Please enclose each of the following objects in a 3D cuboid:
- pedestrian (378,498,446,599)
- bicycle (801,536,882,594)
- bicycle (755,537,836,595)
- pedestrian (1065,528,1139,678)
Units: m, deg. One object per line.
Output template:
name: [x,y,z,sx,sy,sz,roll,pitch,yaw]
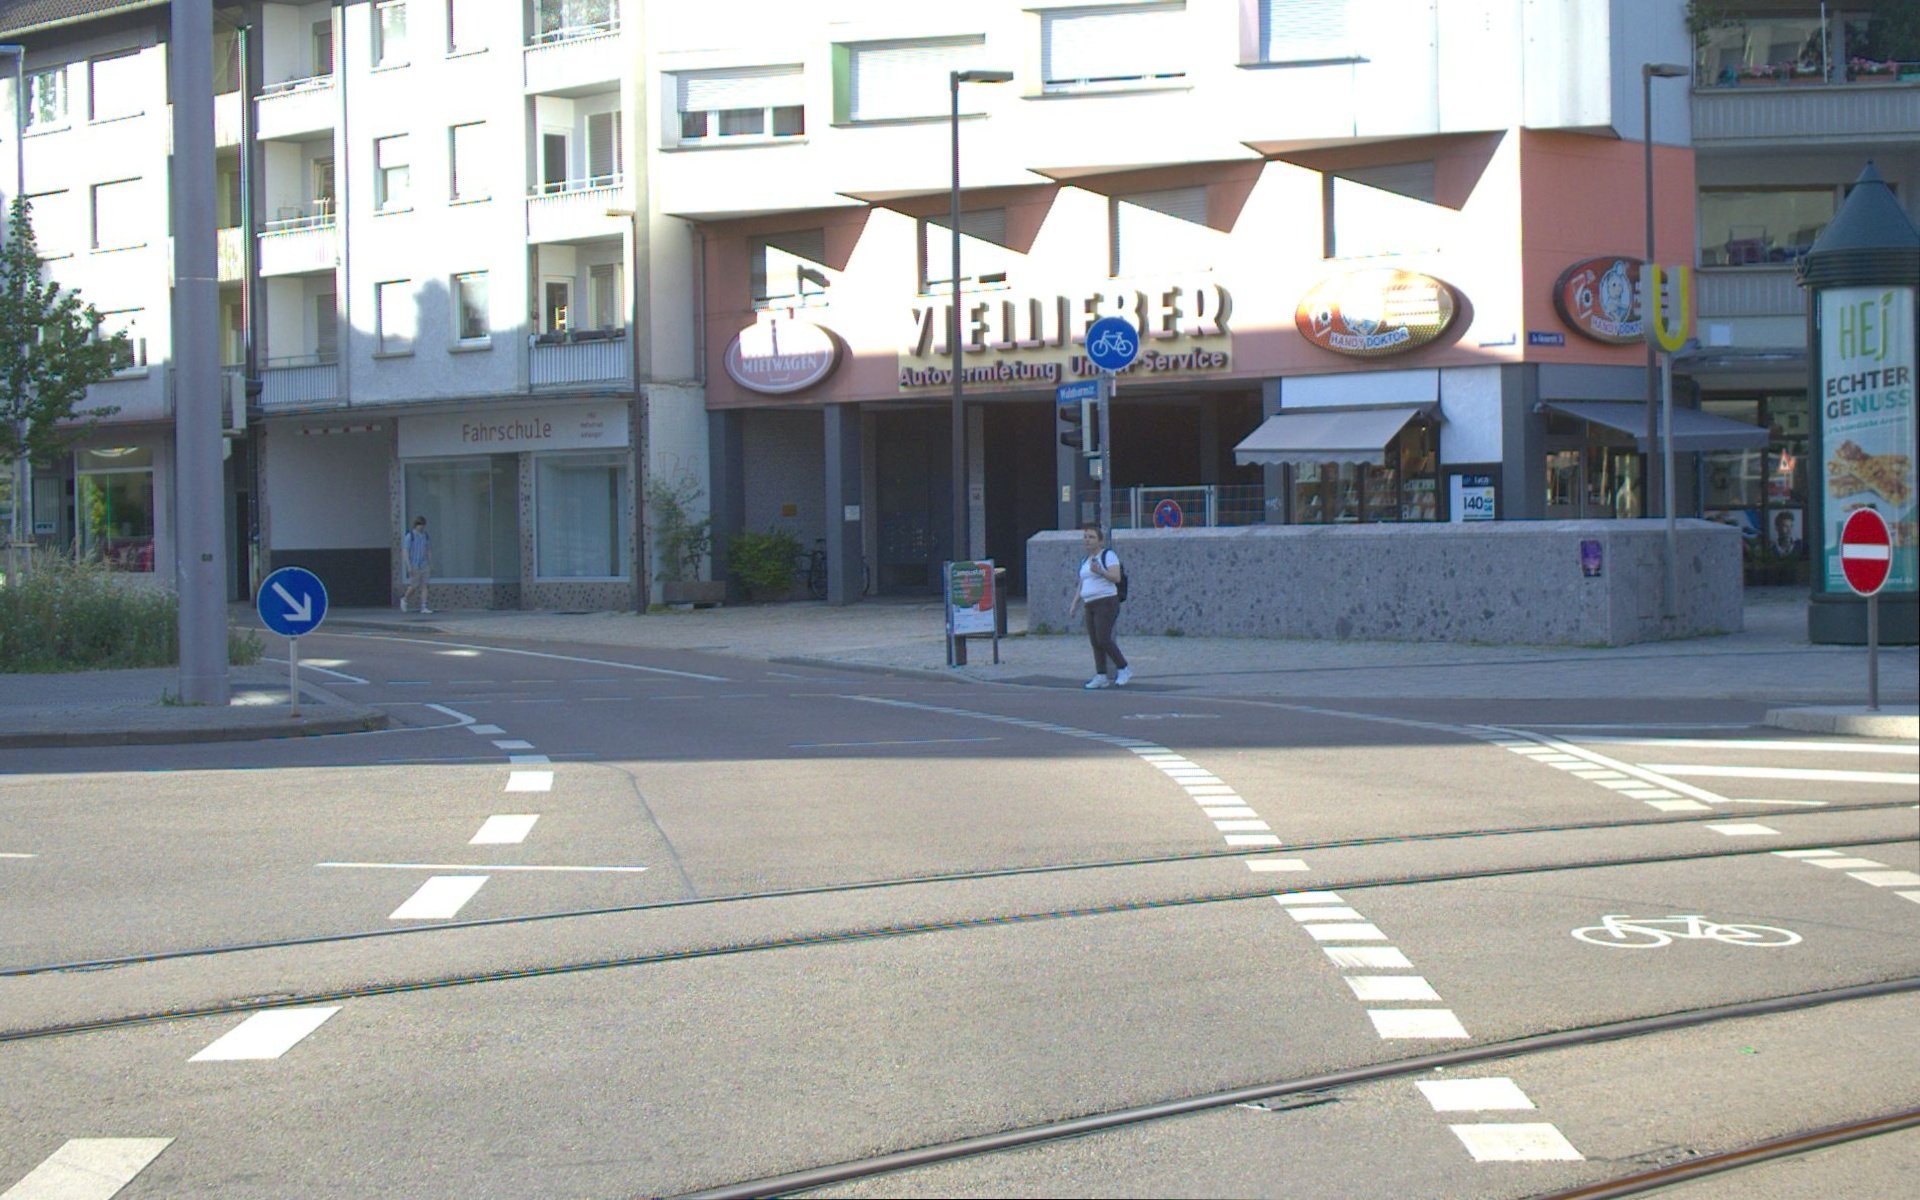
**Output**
pedestrian: [-10.293,-0.963,64.564,0.732,1.848,0.947,-5,3,-45]
bicycle: [-2.173,-0.640,63.059,0.495,1.035,1.637,-2,2,-44]
bicycle: [-3.009,-0.621,62.772,0.495,1.035,1.637,-2,2,-44]
pedestrian: [1.520,0.026,36.845,0.539,1.578,0.557,-2,2,-42]
